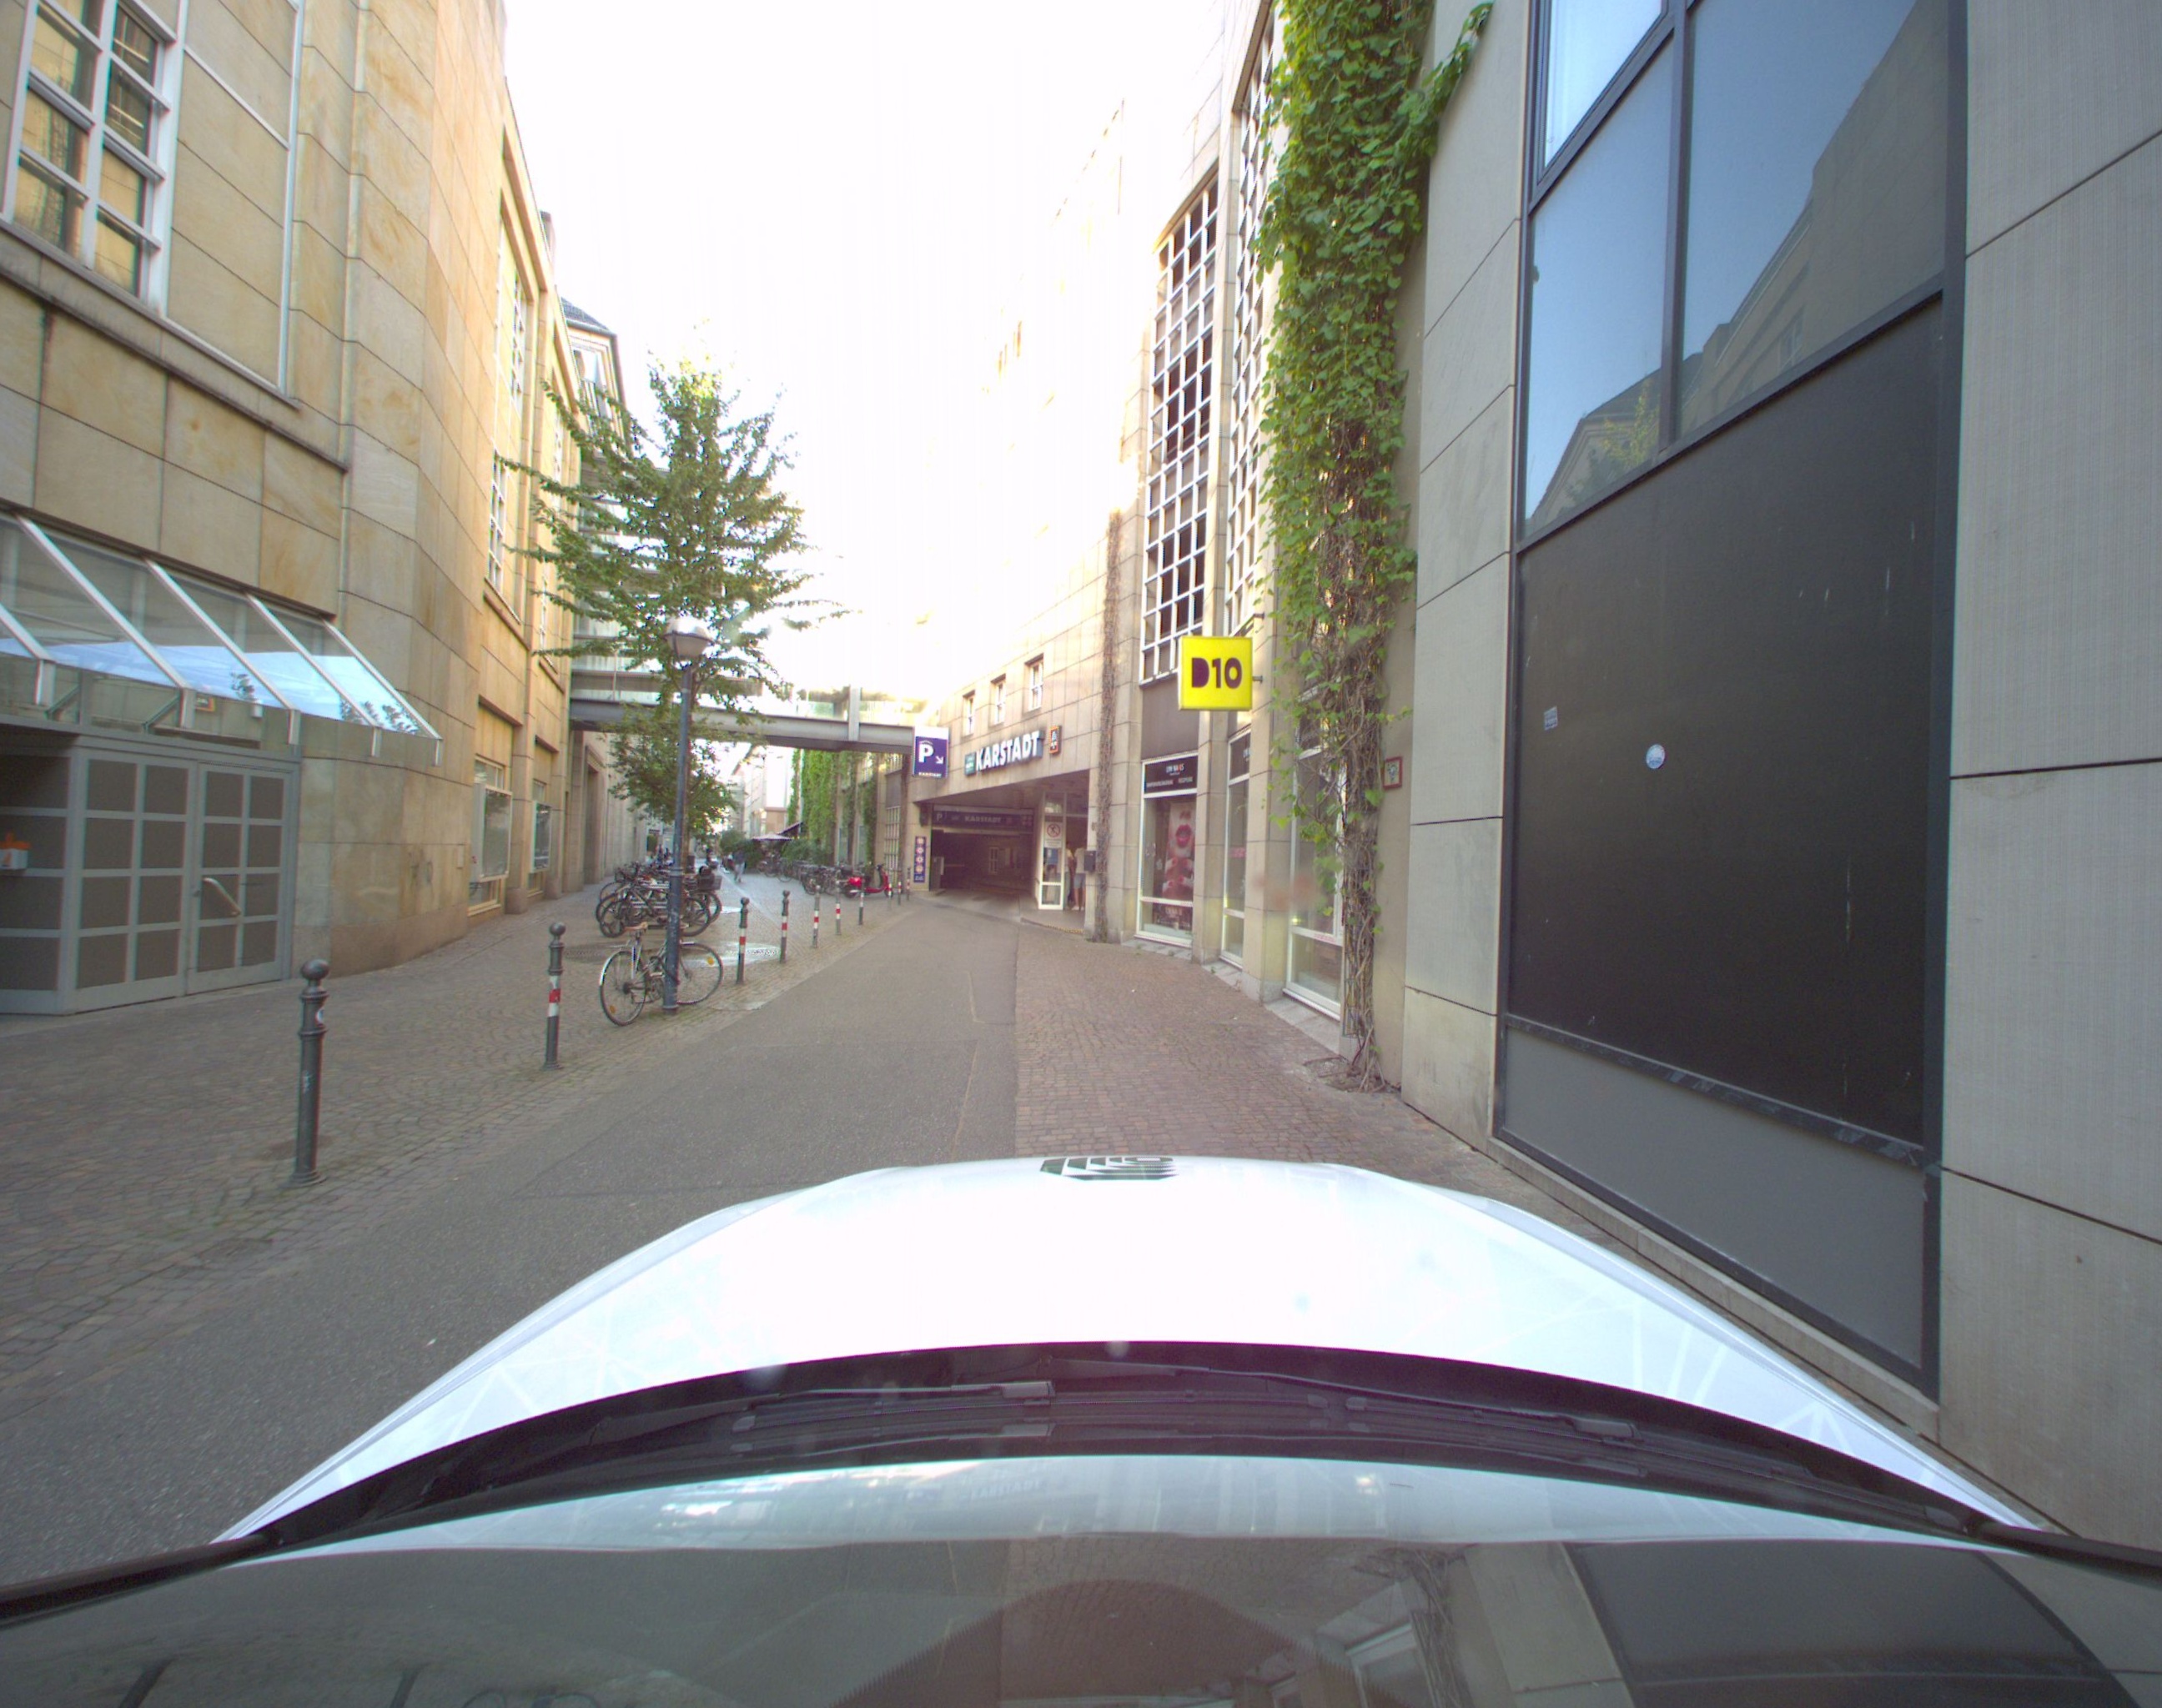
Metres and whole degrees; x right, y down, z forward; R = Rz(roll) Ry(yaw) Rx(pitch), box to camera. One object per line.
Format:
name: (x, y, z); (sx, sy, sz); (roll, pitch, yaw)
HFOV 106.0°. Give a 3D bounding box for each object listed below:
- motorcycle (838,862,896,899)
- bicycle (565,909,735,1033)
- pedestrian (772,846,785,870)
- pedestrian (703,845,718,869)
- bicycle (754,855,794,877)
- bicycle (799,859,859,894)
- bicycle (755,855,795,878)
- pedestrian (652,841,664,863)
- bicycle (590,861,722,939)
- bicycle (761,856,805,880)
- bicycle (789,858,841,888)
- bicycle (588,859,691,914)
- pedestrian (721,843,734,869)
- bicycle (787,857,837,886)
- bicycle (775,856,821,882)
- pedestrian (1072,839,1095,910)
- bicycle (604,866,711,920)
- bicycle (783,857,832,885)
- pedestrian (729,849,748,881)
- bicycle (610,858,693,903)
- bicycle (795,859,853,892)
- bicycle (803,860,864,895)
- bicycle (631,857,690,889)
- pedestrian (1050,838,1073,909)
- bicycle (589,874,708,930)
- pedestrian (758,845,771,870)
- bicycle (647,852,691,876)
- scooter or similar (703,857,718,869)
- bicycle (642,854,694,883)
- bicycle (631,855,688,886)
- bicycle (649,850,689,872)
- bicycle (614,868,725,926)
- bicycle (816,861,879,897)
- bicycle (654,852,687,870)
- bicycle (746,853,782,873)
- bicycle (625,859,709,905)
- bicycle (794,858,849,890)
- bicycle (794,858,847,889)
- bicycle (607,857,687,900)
motorcycle: (-6.913, 0.840, 26.307); (1.753, 1.155, 0.590); (0, 0, -22)
bicycle: (-4.135, 1.078, 7.973); (0.502, 0.966, 1.699); (1, 0, 10)
pedestrian: (-22.721, 0.275, 61.154); (0.779, 1.804, 0.761); (1, -1, -28)
pedestrian: (-25.936, 0.210, 56.962); (0.896, 1.639, 0.904); (1, -1, -26)
bicycle: (-16.735, 0.660, 44.454); (2.003, 1.182, 0.688); (0, 0, -24)
bicycle: (-9.120, 0.797, 29.524); (2.003, 1.182, 0.796); (0, 0, -24)
bicycle: (-16.398, 0.679, 43.673); (2.003, 1.182, 0.688); (0, 0, -24)
pedestrian: (-34.832, -0.187, 67.044); (0.779, 1.804, 0.628); (1, -1, -28)
bicycle: (-7.268, 0.774, 14.045); (1.922, 1.261, 0.802); (2, 0, -25)
bicycle: (-14.632, 0.678, 39.980); (2.003, 1.182, 0.688); (0, 0, -24)
bicycle: (-11.024, 0.769, 33.782); (2.003, 1.182, 0.688); (0, 0, -24)
bicycle: (-9.843, 0.731, 18.234); (1.920, 1.182, 0.691); (2, 0, -22)
pedestrian: (-24.539, 0.153, 56.493); (0.769, 1.804, 0.770); (1, -1, -26)
bicycle: (-11.555, 0.739, 35.006); (2.003, 1.182, 0.688); (0, 0, -24)
bicycle: (-13.318, 0.689, 38.283); (2.003, 1.182, 0.688); (0, 0, -24)
pedestrian: (0.075, 0.530, 21.570); (0.540, 1.861, 0.408); (2, 0, 1)
bicycle: (-9.011, 0.825, 17.409); (1.920, 1.101, 0.691); (2, 0, -22)
bicycle: (-12.083, 0.753, 36.033); (2.003, 1.182, 0.688); (0, 0, -24)
pedestrian: (-16.397, 0.538, 38.986); (0.752, 1.509, 0.632); (1, -1, -27)
bicycle: (-11.830, 0.729, 22.492); (1.920, 1.182, 0.691); (2, 0, -22)
bicycle: (-9.659, 0.807, 30.610); (2.003, 1.182, 0.796); (0, 0, -24)
bicycle: (-8.714, 0.809, 28.678); (2.003, 1.182, 0.690); (0, 0, -24)
bicycle: (-16.272, 0.752, 31.534); (1.920, 1.182, 0.691); (2, 0, -22)
pedestrian: (-0.528, 0.509, 21.751); (0.540, 1.846, 0.408); (2, 0, 1)
bicycle: (-8.119, 0.892, 15.381); (1.922, 0.994, 0.690); (2, 0, -25)
pedestrian: (-23.732, 0.258, 61.025); (0.779, 1.804, 0.761); (1, -1, -28)
bicycle: (-21.529, 0.519, 42.583); (1.920, 1.182, 0.691); (2, 0, -22)
scooter or similar: (-25.544, 0.625, 56.142); (0.896, 0.843, 0.904); (1, 0, -26)
bicycle: (-17.751, 0.637, 35.051); (1.920, 1.182, 0.691); (2, 0, -22)
bicycle: (-16.692, 0.645, 32.305); (1.920, 1.182, 0.691); (2, 0, -22)
bicycle: (-23.383, 0.417, 46.258); (1.920, 1.182, 0.691); (2, 0, -22)
bicycle: (-8.188, 0.847, 16.296); (1.922, 1.101, 0.690); (2, 0, -25)
bicycle: (-8.007, 0.827, 27.883); (2.003, 1.182, 0.690); (0, 0, -24)
bicycle: (-28.045, 0.464, 55.641); (1.920, 1.182, 0.691); (2, 0, -22)
bicycle: (-18.964, 0.541, 48.746); (2.003, 1.182, 0.688); (0, 0, -24)
bicycle: (-11.062, 0.749, 21.823); (1.920, 1.182, 0.691); (2, 0, -22)
bicycle: (-10.209, 0.774, 32.017); (2.003, 1.182, 0.796); (0, 0, -24)
bicycle: (-10.545, 0.778, 32.975); (2.003, 1.182, 0.688); (0, 0, -24)
bicycle: (-12.475, 0.709, 23.476); (1.920, 1.182, 0.691); (2, 0, -22)
